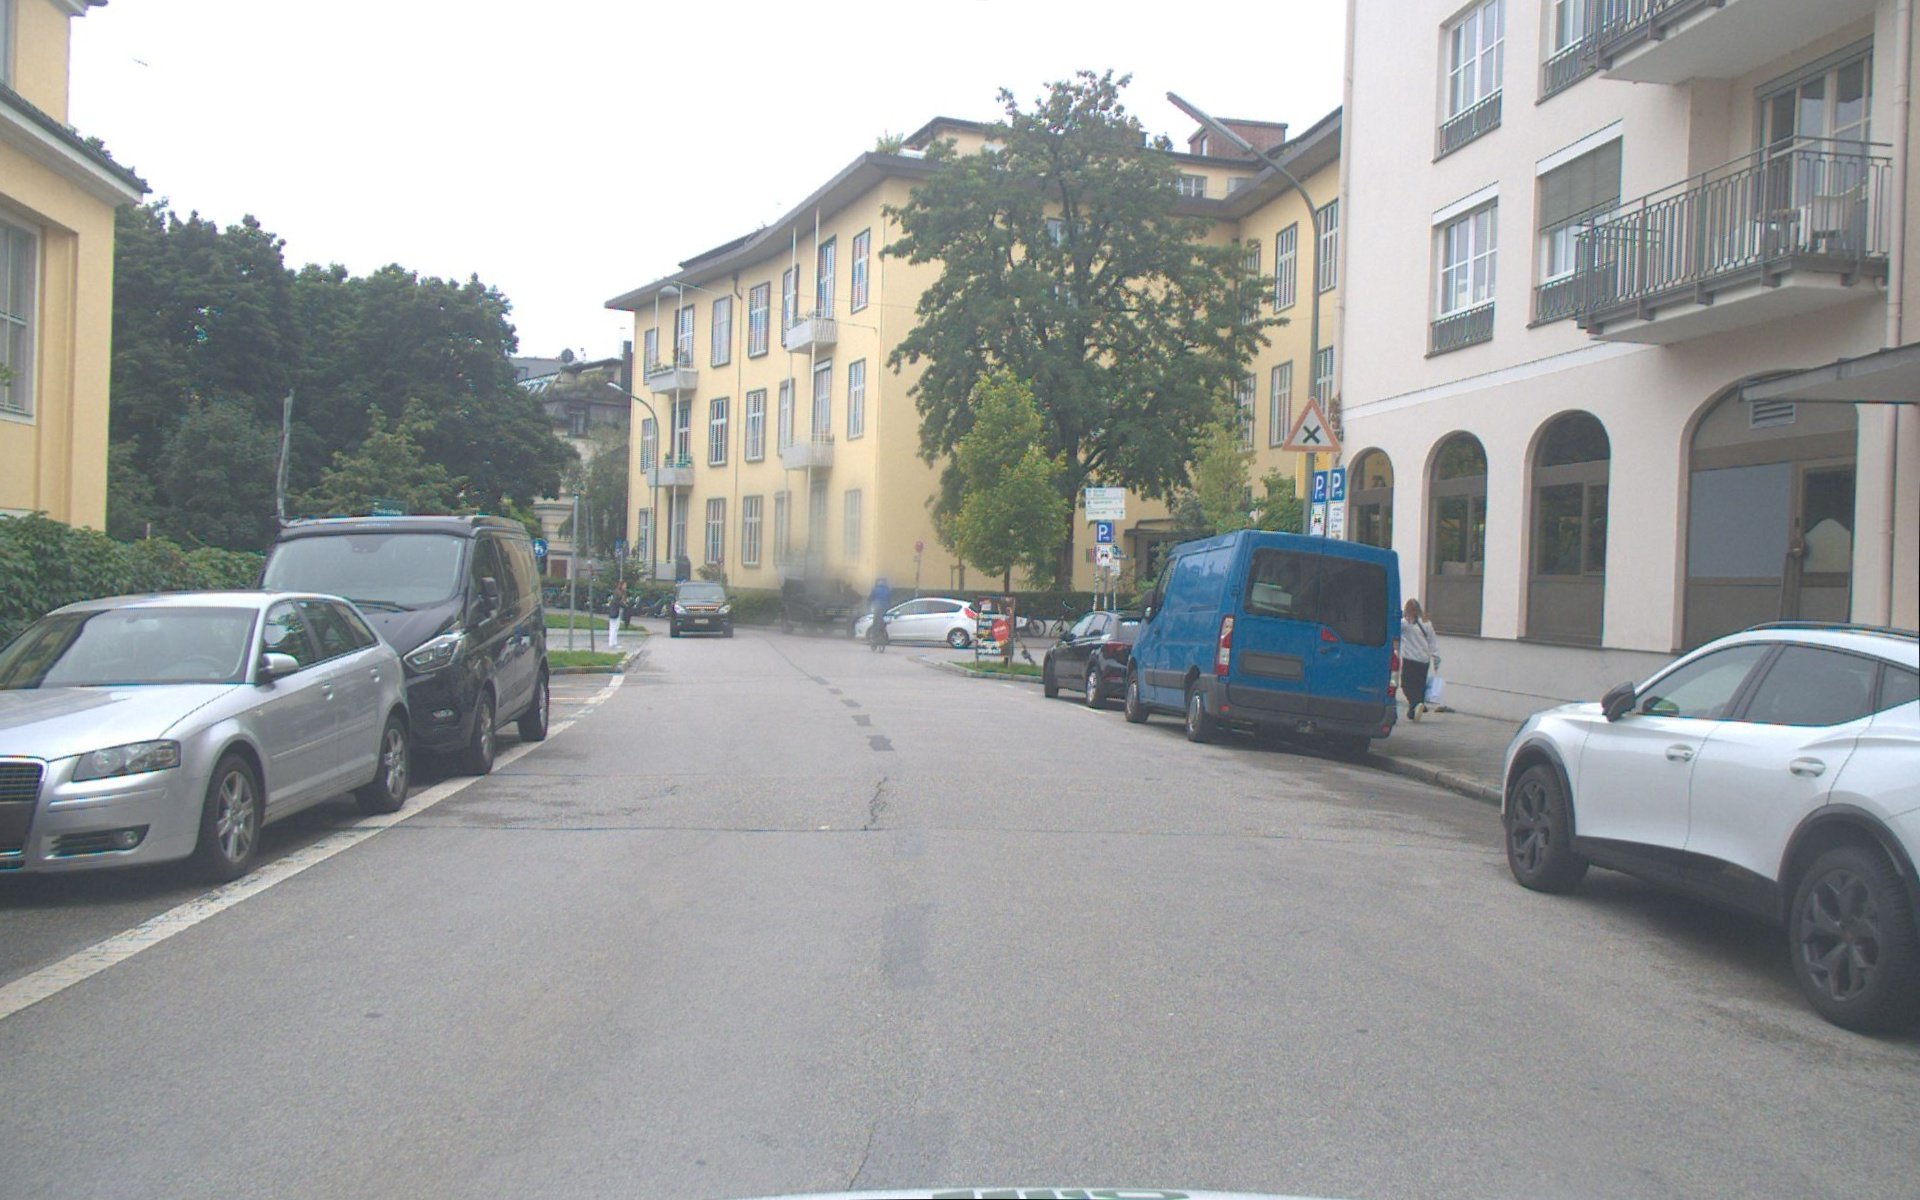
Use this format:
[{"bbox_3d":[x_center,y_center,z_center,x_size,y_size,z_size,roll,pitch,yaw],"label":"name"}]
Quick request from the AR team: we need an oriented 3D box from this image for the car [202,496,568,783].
[{"bbox_3d":[-4.668,0.234,14.198,1.888,2.013,4.617,-1,1,-6],"label":"car"}]

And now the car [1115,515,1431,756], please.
[{"bbox_3d":[3.455,0.416,19.432,2.070,2.251,5.021,6,-2,-6],"label":"car"}]

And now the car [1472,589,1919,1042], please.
[{"bbox_3d":[4.187,0.852,7.755,1.742,1.548,4.299,6,1,-6],"label":"car"}]

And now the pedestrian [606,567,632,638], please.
[{"bbox_3d":[-8.390,0.059,40.743,0.534,1.726,0.663,0,1,-20],"label":"pedestrian"}]

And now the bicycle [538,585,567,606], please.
[{"bbox_3d":[-20.853,-0.233,84.622,0.402,1.032,1.529,1,1,40],"label":"bicycle"}]

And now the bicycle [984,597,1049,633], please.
[{"bbox_3d":[1.915,0.489,55.947,2.121,1.135,0.641,2,1,8],"label":"bicycle"}]

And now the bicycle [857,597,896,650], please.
[{"bbox_3d":[-2.173,0.601,43.414,0.902,1.274,2.321,1,1,-1],"label":"bicycle"}]

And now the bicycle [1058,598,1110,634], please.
[{"bbox_3d":[4.186,0.543,55.815,1.651,1.150,0.459,1,1,-10],"label":"bicycle"}]

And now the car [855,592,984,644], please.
[{"bbox_3d":[-1.197,0.529,49.807,3.636,1.431,1.754,2,1,7],"label":"car"}]

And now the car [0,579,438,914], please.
[{"bbox_3d":[-4.335,0.636,9.200,1.672,1.389,4.000,-2,1,-2],"label":"car"}]

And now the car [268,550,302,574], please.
[{"bbox_3d":[-58.687,-3.345,143.737,2.044,2.000,4.928,1,1,-30],"label":"car"}]

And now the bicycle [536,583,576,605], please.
[{"bbox_3d":[-20.685,-0.314,84.687,0.608,1.046,1.964,1,0,44],"label":"bicycle"}]

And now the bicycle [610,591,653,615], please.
[{"bbox_3d":[-15.202,0.156,76.545,0.608,1.046,1.964,1,0,44],"label":"bicycle"}]

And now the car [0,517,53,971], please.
[{"bbox_3d":[-4.262,0.570,4.020,1.668,1.634,4.490,-2,1,-1],"label":"car"}]

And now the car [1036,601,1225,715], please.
[{"bbox_3d":[2.517,0.833,25.383,1.684,1.418,3.989,5,0,-12],"label":"car"}]

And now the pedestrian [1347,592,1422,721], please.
[{"bbox_3d":[5.556,0.733,21.693,0.666,1.657,0.827,1,0,-10],"label":"pedestrian"}]

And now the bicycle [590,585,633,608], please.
[{"bbox_3d":[-16.475,-0.175,78.210,0.608,1.046,1.964,1,0,44],"label":"bicycle"}]

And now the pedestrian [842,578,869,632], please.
[{"bbox_3d":[-3.543,0.173,56.200,0.832,1.788,0.952,1,1,-7],"label":"pedestrian"}]

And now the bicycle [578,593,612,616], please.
[{"bbox_3d":[-17.601,0.224,79.730,0.521,1.046,1.977,2,0,23],"label":"bicycle"}]

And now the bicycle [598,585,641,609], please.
[{"bbox_3d":[-15.924,-0.142,77.300,0.608,1.046,1.964,1,0,44],"label":"bicycle"}]

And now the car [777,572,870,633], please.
[{"bbox_3d":[-4.678,0.061,56.024,1.847,1.920,4.588,1,1,-22],"label":"car"}]

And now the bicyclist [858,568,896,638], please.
[{"bbox_3d":[-2.166,0.072,43.338,0.895,1.795,1.215,1,1,-1],"label":"bicyclist"}]

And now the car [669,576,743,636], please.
[{"bbox_3d":[-8.036,0.153,52.029,1.959,1.749,4.600,1,1,-13],"label":"car"}]

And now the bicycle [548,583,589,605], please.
[{"bbox_3d":[-19.563,-0.287,82.728,0.608,1.046,1.964,1,0,44],"label":"bicycle"}]

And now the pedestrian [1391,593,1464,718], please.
[{"bbox_3d":[6.214,0.728,22.011,0.698,1.633,0.698,0,0,-9],"label":"pedestrian"}]

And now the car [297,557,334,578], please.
[{"bbox_3d":[-52.987,-2.714,136.027,1.976,1.628,4.205,1,1,-33],"label":"car"}]

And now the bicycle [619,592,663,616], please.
[{"bbox_3d":[-14.661,0.189,75.981,0.608,1.046,1.964,1,0,44],"label":"bicycle"}]
